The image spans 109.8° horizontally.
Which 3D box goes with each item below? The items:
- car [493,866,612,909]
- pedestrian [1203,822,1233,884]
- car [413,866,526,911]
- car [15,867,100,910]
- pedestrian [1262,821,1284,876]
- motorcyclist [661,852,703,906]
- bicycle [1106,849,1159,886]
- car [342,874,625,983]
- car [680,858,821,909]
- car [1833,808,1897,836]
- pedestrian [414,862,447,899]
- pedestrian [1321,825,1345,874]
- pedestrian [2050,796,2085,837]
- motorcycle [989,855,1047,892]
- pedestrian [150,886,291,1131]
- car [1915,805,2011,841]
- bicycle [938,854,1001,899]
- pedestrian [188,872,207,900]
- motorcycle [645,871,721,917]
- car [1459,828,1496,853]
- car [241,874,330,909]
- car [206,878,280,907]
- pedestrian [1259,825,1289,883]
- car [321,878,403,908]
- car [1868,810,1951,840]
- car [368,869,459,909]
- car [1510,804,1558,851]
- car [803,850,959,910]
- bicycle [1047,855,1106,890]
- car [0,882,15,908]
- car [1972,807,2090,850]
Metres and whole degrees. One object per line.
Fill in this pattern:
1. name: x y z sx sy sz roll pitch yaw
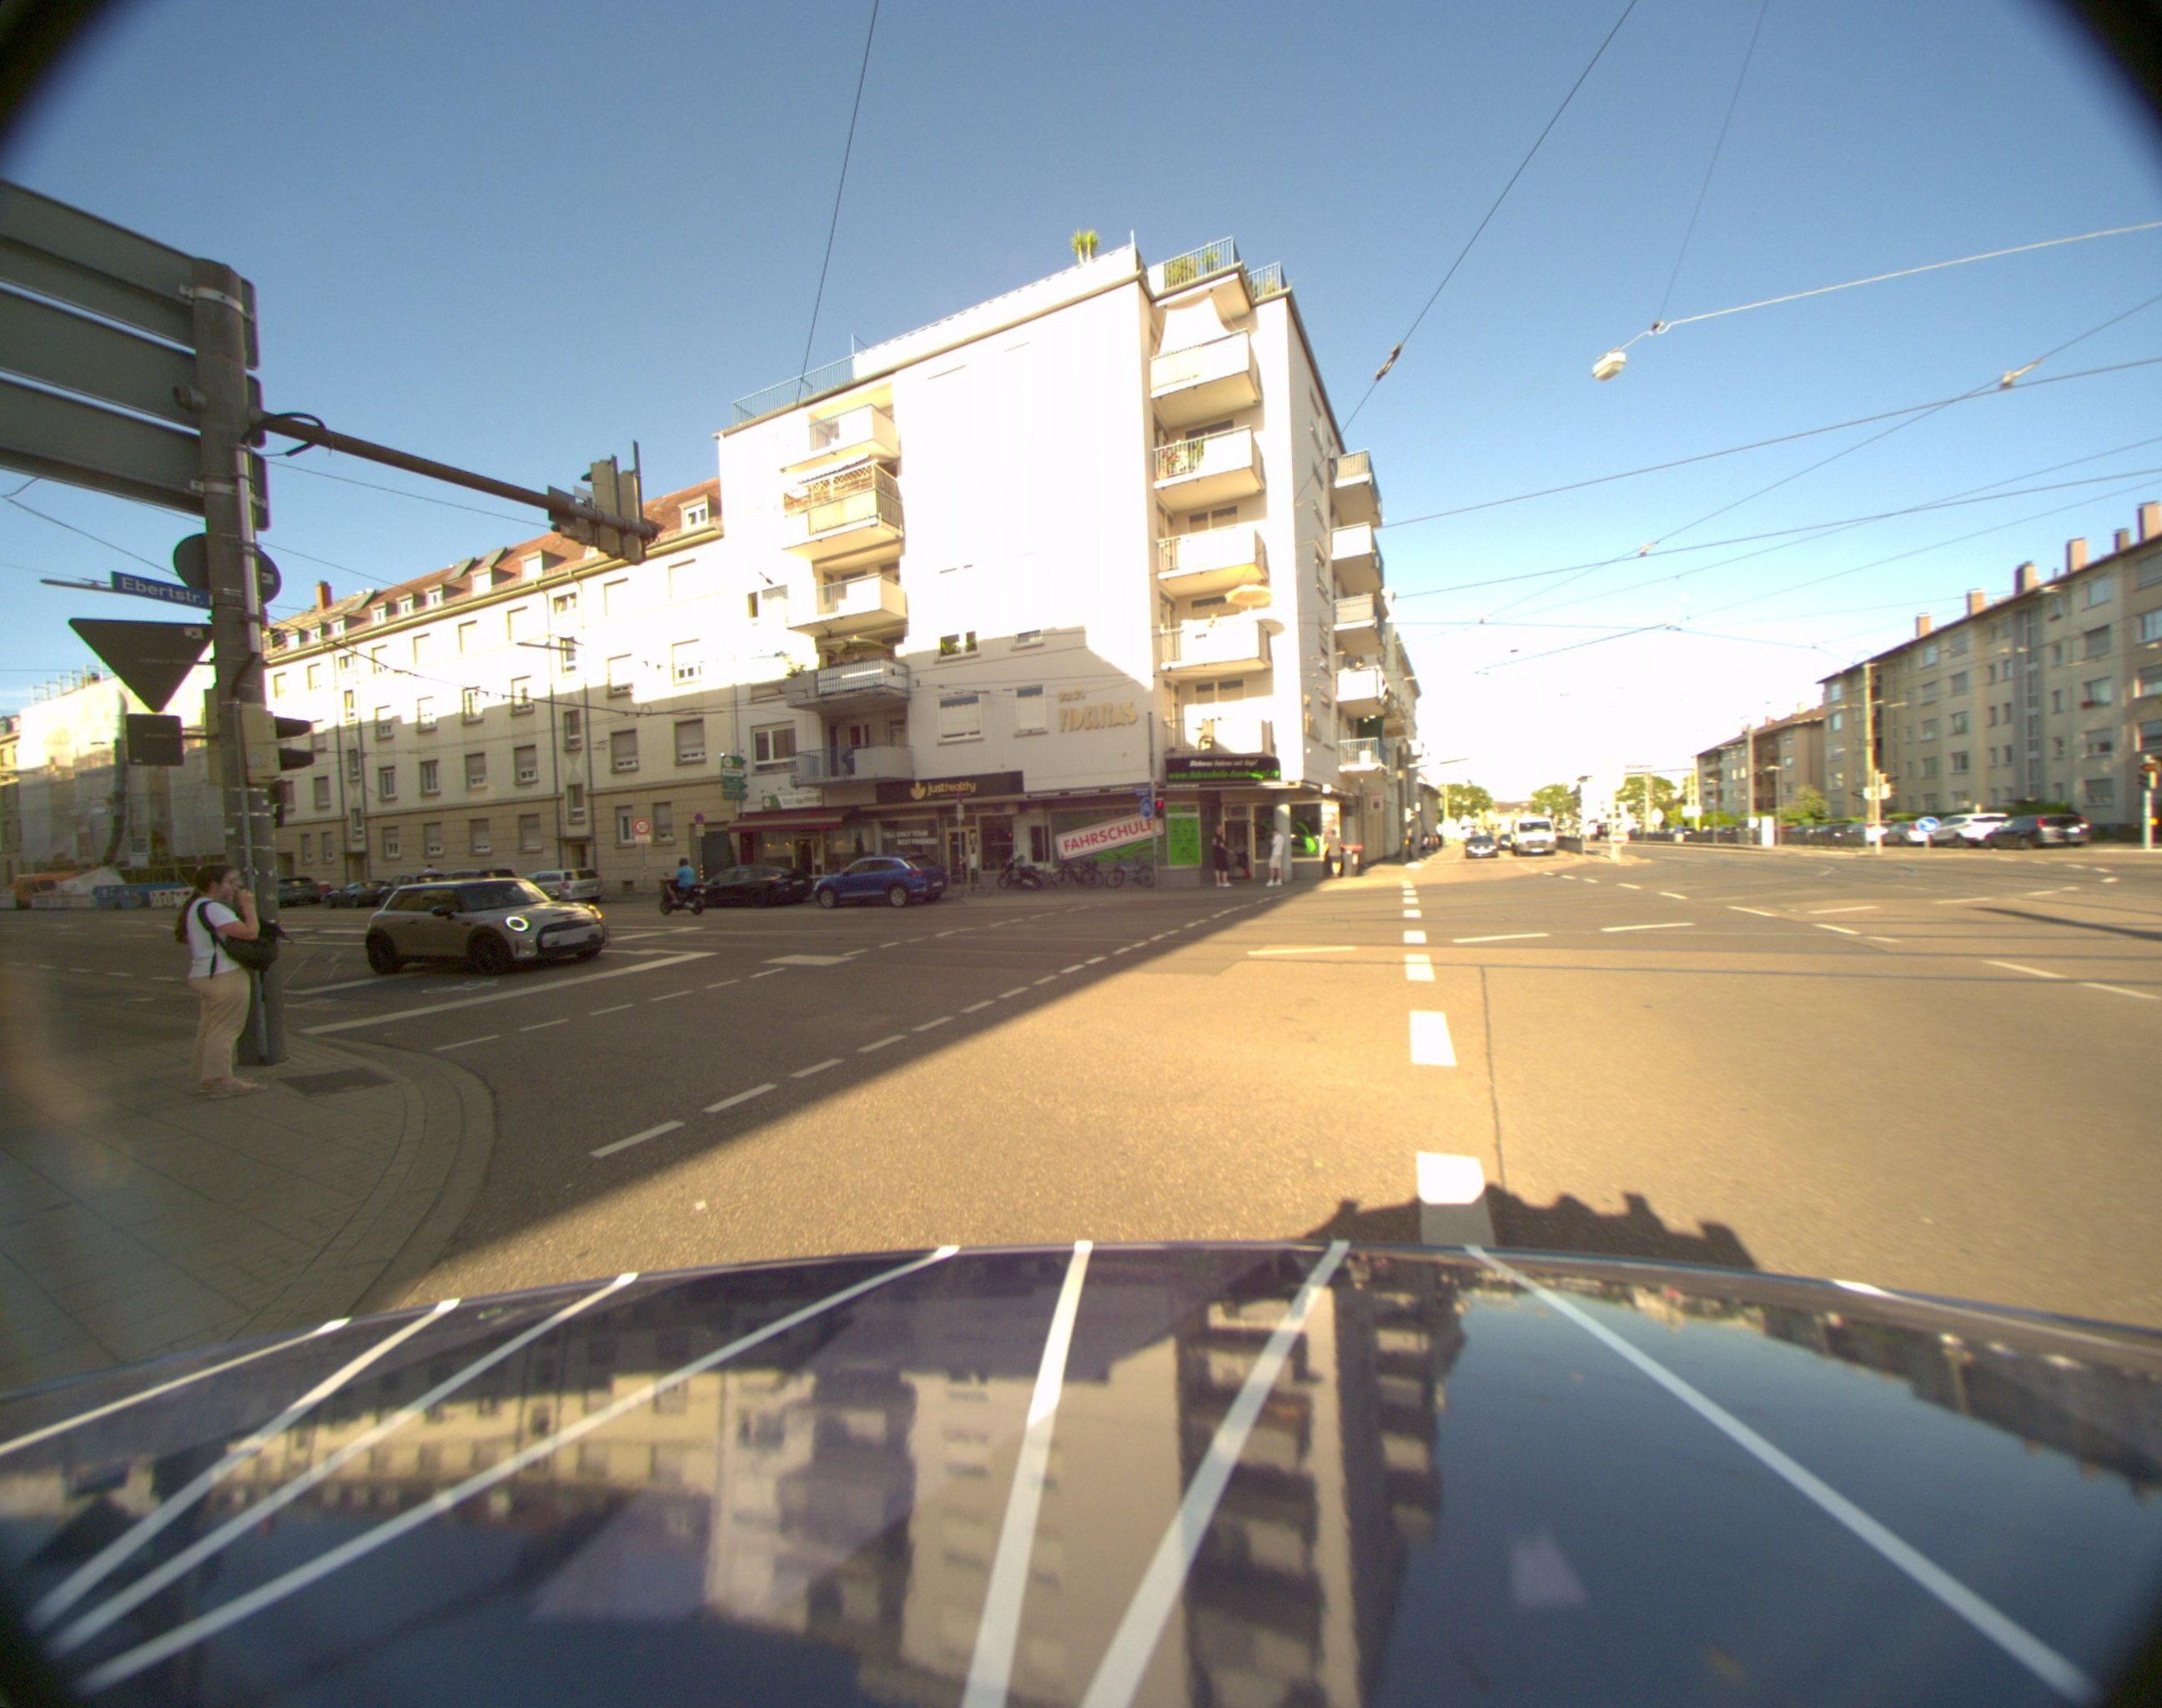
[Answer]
1. car: -20.871 1.329 30.009 4.361 1.447 1.732 -2 4 24
2. pedestrian: 4.295 -0.042 23.815 0.737 1.890 0.576 2 5 43
3. car: -25.993 1.454 32.296 4.315 1.625 1.822 -2 4 24
4. car: -71.149 2.408 52.819 5.859 2.682 2.219 -2 4 26
5. pedestrian: 6.614 -0.185 26.151 0.597 1.846 0.519 -2 4 22
6. motorcyclist: -11.459 0.702 21.830 0.683 1.488 0.696 -3 2 21
7. bicycle: 1.645 0.426 24.193 1.535 1.100 0.553 -1 4 27
8. car: -9.665 1.190 12.345 3.809 1.417 1.730 -3 3 20
9. car: -11.117 0.993 25.519 4.434 1.467 1.776 -2 4 25
10. car: 49.949 -2.056 48.517 1.657 1.549 3.793 -1 4 26
11. pedestrian: -32.527 1.321 37.986 1.004 1.758 0.664 -2 4 18
12. pedestrian: 8.728 -0.161 26.310 0.699 1.642 0.761 2 1 22
13. pedestrian: 45.958 -1.755 35.403 0.698 1.876 0.781 -1 4 30
14. motorcycle: -2.107 0.656 25.347 1.792 1.128 0.609 -2 4 25
15. pedestrian: -6.214 1.049 5.525 0.542 1.614 0.731 2 -1 -40
16. car: 44.905 -1.620 38.800 1.769 1.590 4.038 -1 4 27
17. bicycle: -3.401 0.698 23.155 1.792 1.307 0.609 -2 4 25
18. pedestrian: -60.300 2.168 51.859 0.761 1.862 0.520 -1 4 25
19. motorcycle: -11.453 1.154 21.856 1.961 1.213 0.715 -3 2 21
20. car: 24.257 -0.835 46.417 1.879 1.406 3.936 -1 1 29
21. car: -41.630 1.974 39.777 4.149 1.601 1.754 -2 4 24
22. car: -46.047 2.121 41.764 3.500 1.373 1.567 -2 4 24
23. pedestrian: 6.112 0.002 24.047 0.660 1.782 0.739 -2 2 32
24. car: -34.322 1.847 36.252 3.515 1.213 1.478 -2 4 24
25. car: 47.629 -1.707 43.785 1.830 1.470 4.037 -1 4 25
26. car: -30.139 1.584 34.327 3.587 1.550 1.646 -2 5 25
27. car: 27.123 -1.637 45.664 2.336 2.504 4.861 -1 4 29
28. car: -6.043 0.786 22.943 4.228 1.495 1.776 -3 4 23
29. bicycle: -0.155 0.610 24.785 1.792 1.083 0.609 -2 4 25
30. car: -86.864 3.315 60.701 3.754 1.912 1.662 -1 4 32
31. car: 42.417 -1.178 34.073 1.866 1.619 4.078 -1 4 29
